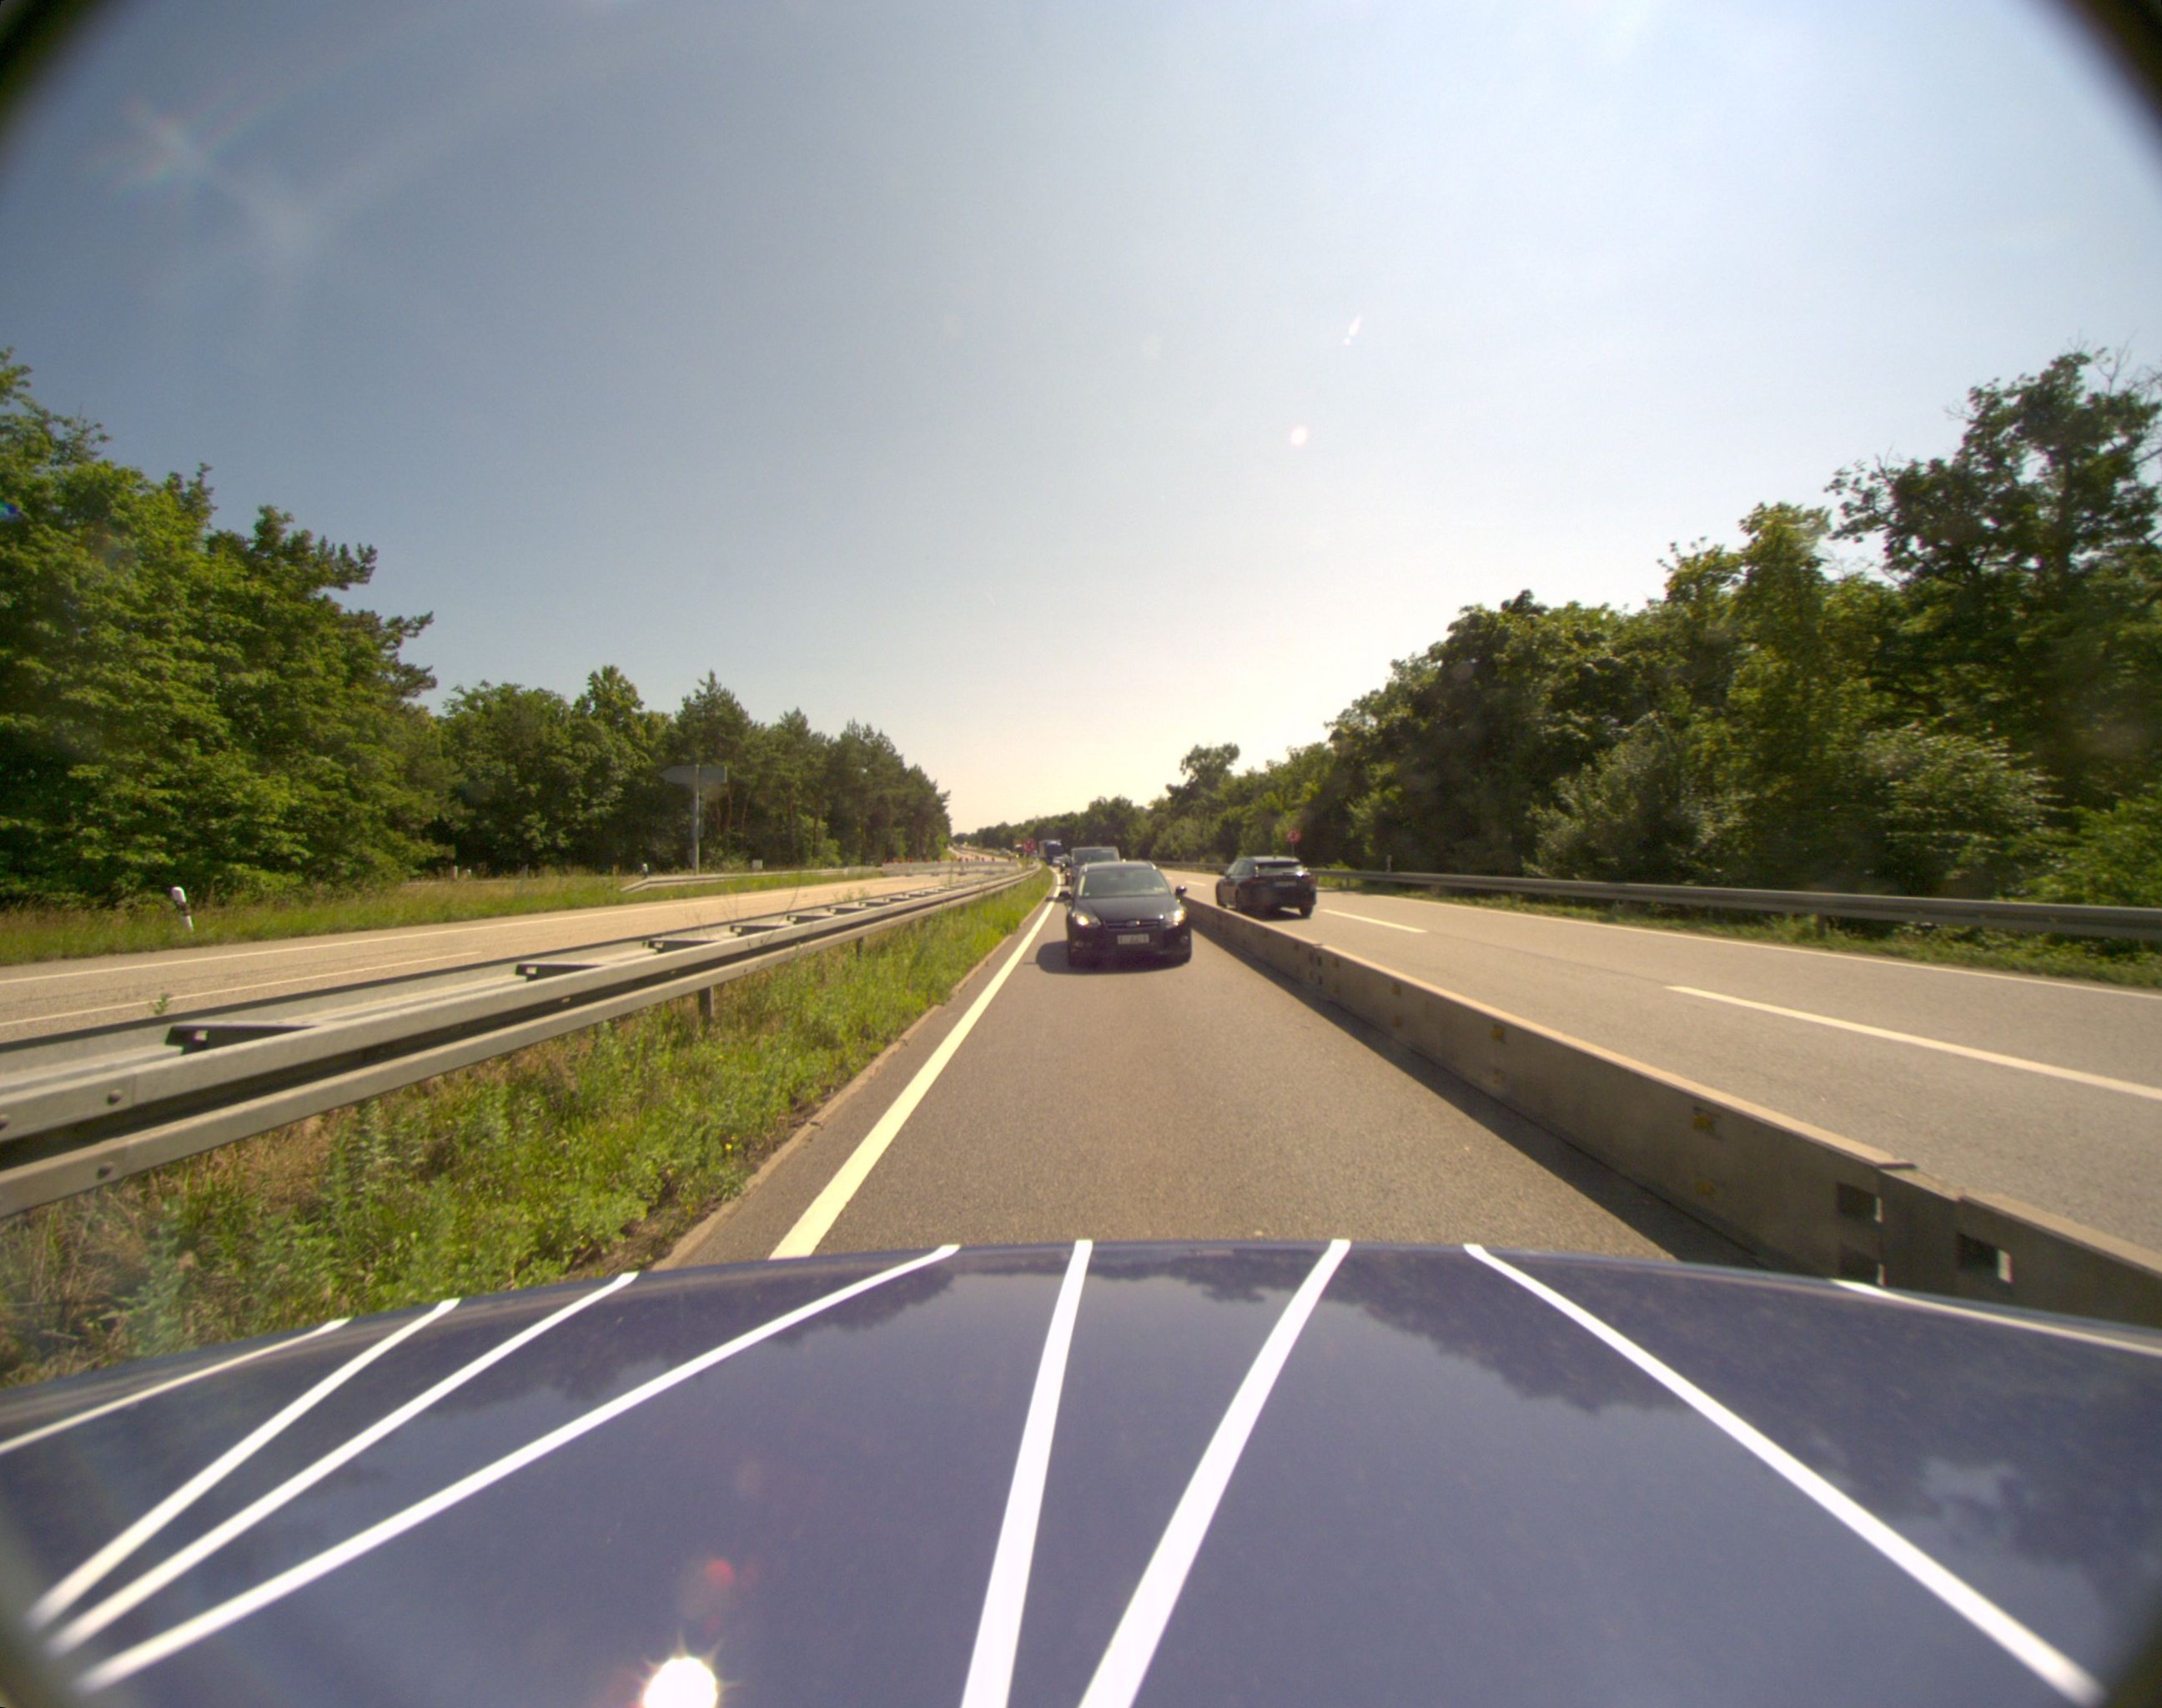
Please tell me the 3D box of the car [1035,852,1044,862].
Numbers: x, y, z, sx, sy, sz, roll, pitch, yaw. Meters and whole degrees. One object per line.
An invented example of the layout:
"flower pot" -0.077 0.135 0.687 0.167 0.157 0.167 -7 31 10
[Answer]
"car" -8.070 0.594 147.838 1.527 1.648 3.976 -6 3 -5

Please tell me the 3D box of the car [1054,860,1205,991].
"car" 0.646 0.917 12.005 1.846 1.536 4.935 -2 0 1

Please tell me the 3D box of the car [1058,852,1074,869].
"car" -1.518 0.630 76.123 1.527 1.647 3.979 -2 0 -2

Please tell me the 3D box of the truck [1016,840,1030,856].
"truck" -16.279 -1.751 213.025 3.831 4.265 11.240 -1 0 -5

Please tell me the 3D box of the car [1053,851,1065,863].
"car" -3.123 0.434 109.135 1.528 1.647 3.752 0 0 -5

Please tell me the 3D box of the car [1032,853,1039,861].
"car" -10.256 0.689 169.916 1.527 1.647 3.979 0 0 -4

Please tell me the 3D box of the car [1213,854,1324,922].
"car" 4.622 0.773 19.355 1.826 1.473 4.257 -2 0 1

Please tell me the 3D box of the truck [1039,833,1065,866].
"truck" -4.885 -0.746 126.758 3.830 5.266 11.241 -1 0 -5

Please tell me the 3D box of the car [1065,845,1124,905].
"car" 0.483 0.681 28.451 1.959 1.902 4.934 -2 1 0
